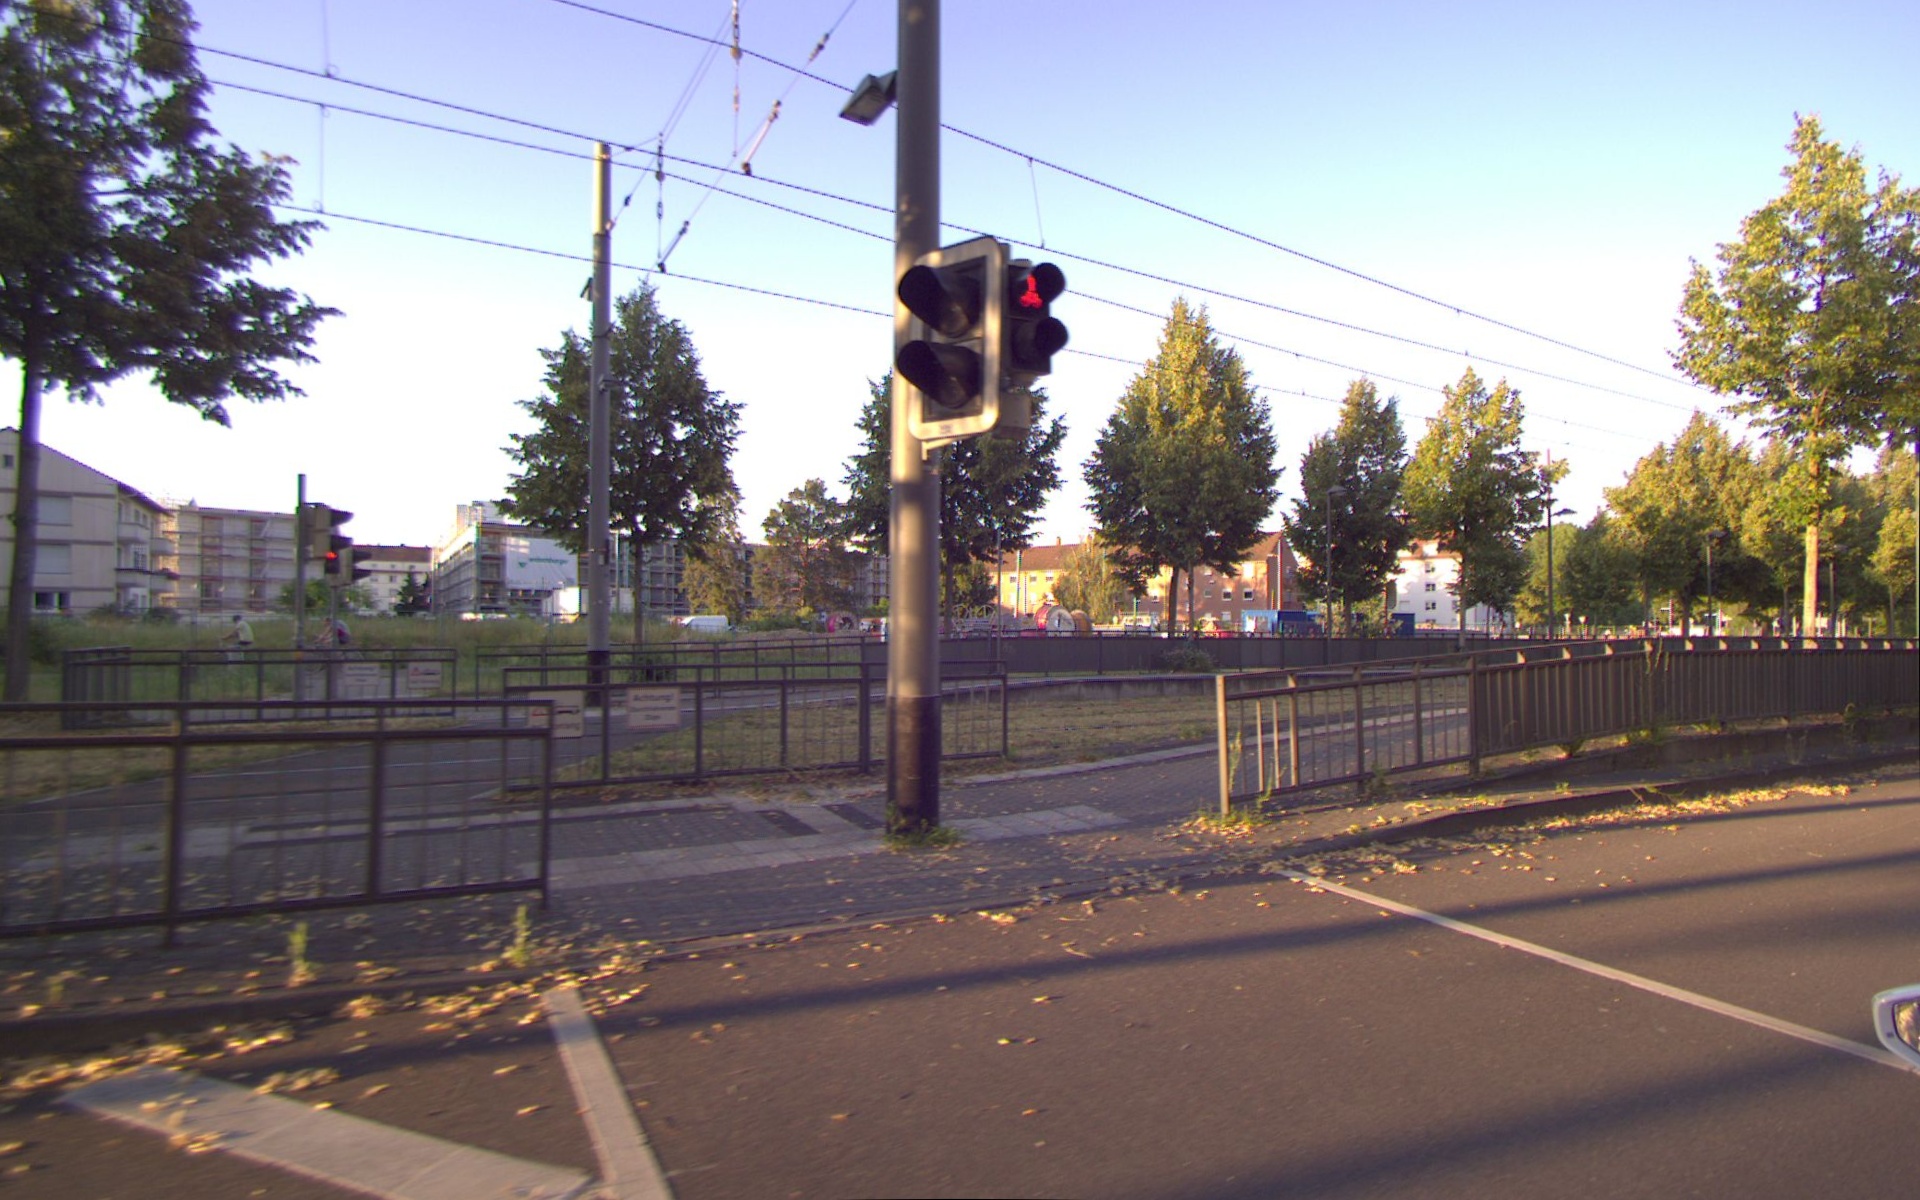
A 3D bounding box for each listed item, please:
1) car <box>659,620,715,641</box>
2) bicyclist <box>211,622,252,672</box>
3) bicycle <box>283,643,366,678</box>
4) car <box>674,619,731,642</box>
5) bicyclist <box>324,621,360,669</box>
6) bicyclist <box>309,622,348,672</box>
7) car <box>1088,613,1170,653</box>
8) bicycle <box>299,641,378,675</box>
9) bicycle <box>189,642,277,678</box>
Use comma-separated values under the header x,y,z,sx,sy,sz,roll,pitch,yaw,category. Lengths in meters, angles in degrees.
x,y,z,sx,sy,sz,roll,pitch,yaw,category
-26.066,2.927,96.006,4.737,2.040,1.975,2,-2,-42,car
-21.676,1.395,29.903,0.927,1.440,0.616,1,-2,-32,bicyclist
-18.920,1.789,29.944,2.060,1.024,0.616,2,-2,-32,bicycle
-23.799,2.811,92.855,4.760,2.040,1.979,2,-2,-37,car
-19.281,1.401,31.354,0.927,1.475,0.616,1,-2,-32,bicyclist
-18.857,1.403,30.012,0.927,1.475,0.616,1,-2,-32,bicyclist
10.080,1.945,59.423,2.384,2.254,5.898,0,-2,36,car
-19.343,1.800,31.294,2.060,1.024,0.616,2,-2,-32,bicycle
-21.623,1.766,29.916,2.060,1.024,0.616,2,-2,-32,bicycle
